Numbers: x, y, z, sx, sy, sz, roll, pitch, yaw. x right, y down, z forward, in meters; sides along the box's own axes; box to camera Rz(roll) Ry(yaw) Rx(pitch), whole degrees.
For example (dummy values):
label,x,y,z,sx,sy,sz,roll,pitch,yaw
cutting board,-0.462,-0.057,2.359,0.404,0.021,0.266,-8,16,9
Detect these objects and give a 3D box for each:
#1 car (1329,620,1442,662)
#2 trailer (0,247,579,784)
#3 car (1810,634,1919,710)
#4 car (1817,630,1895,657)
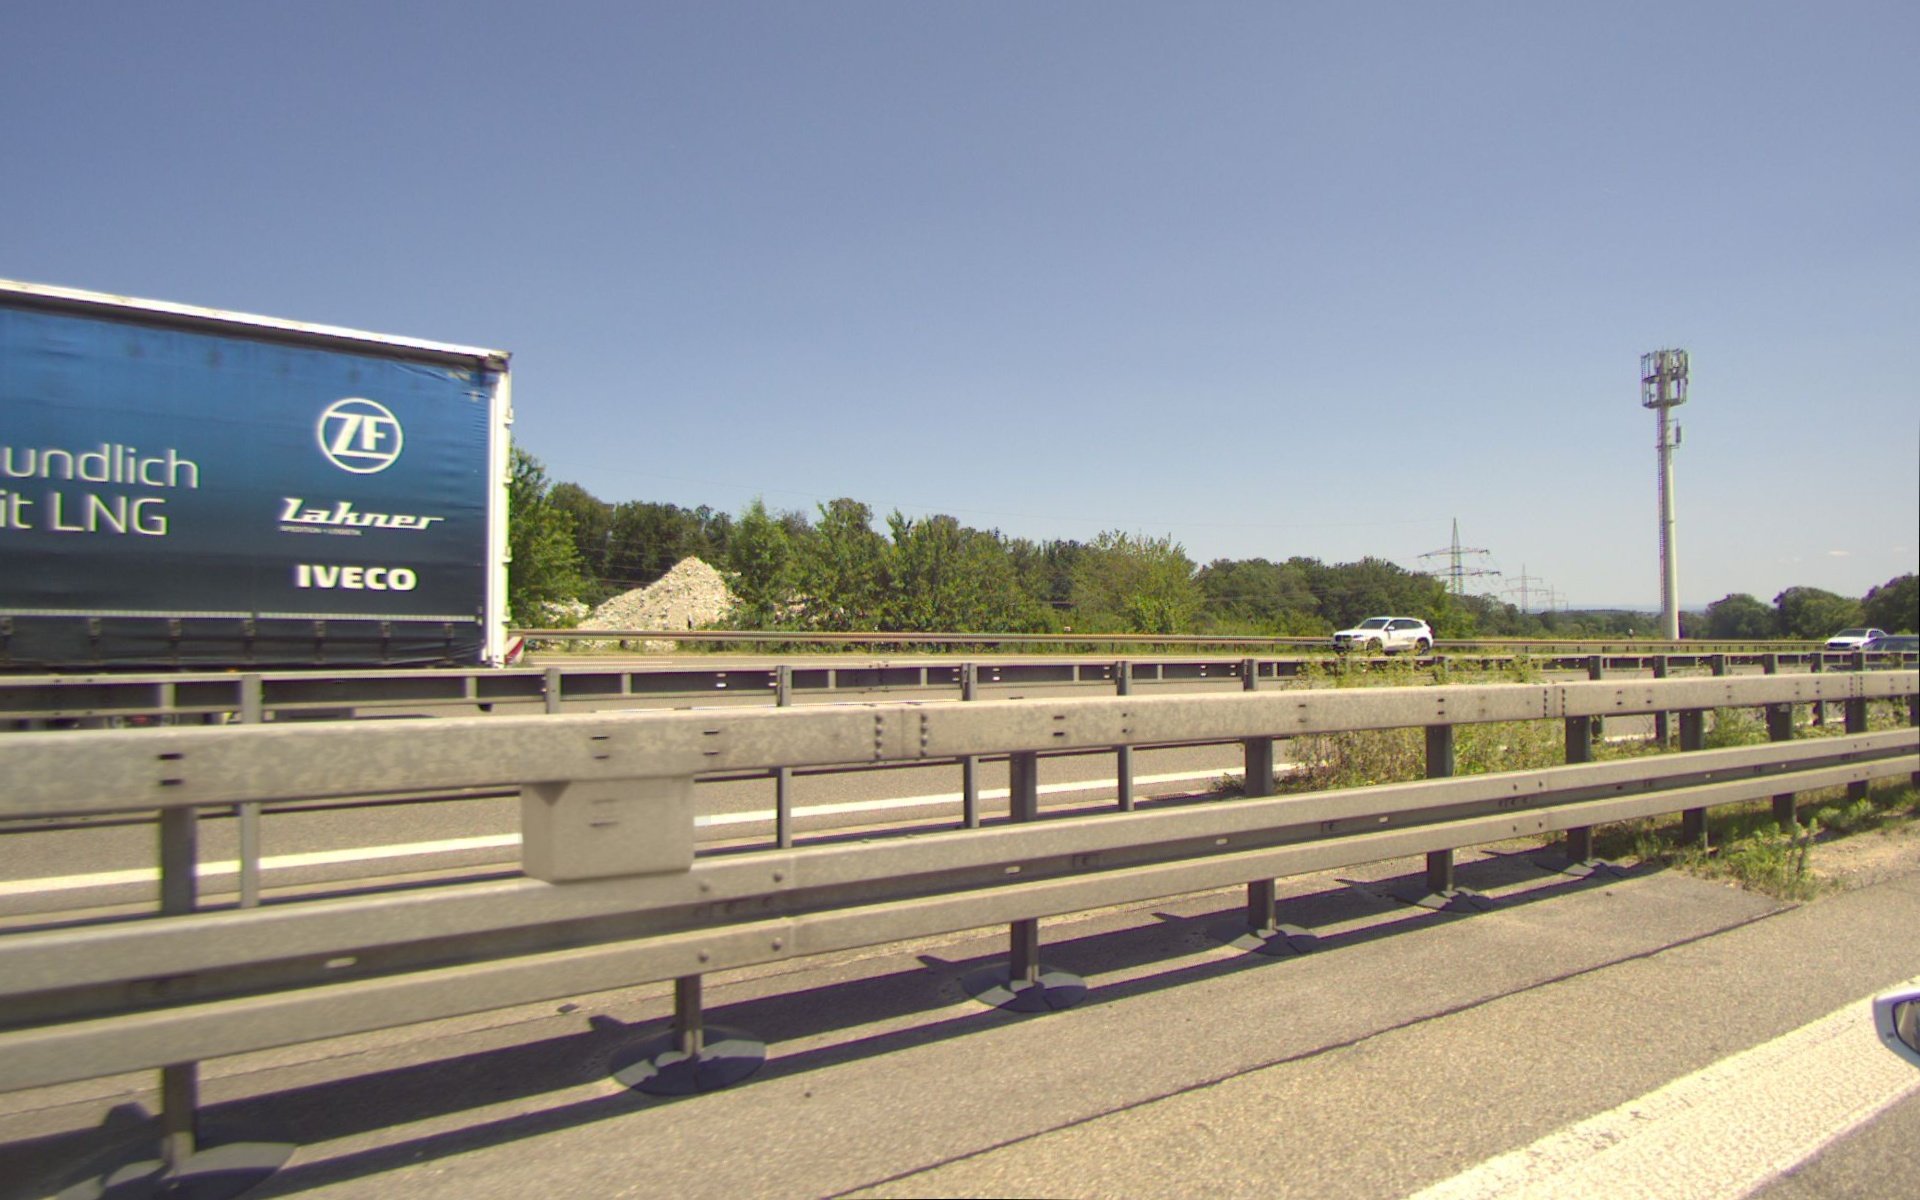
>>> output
label,x,y,z,sx,sy,sz,roll,pitch,yaw
car,17.355,1.677,40.973,4.338,1.634,1.674,1,-1,-22
trailer,-10.963,-0.759,8.080,14.451,4.399,2.931,2,-1,-31
car,20.742,1.500,21.950,4.582,1.483,1.859,1,-1,-30
car,50.503,2.446,56.585,4.731,1.420,1.514,1,-1,-24
